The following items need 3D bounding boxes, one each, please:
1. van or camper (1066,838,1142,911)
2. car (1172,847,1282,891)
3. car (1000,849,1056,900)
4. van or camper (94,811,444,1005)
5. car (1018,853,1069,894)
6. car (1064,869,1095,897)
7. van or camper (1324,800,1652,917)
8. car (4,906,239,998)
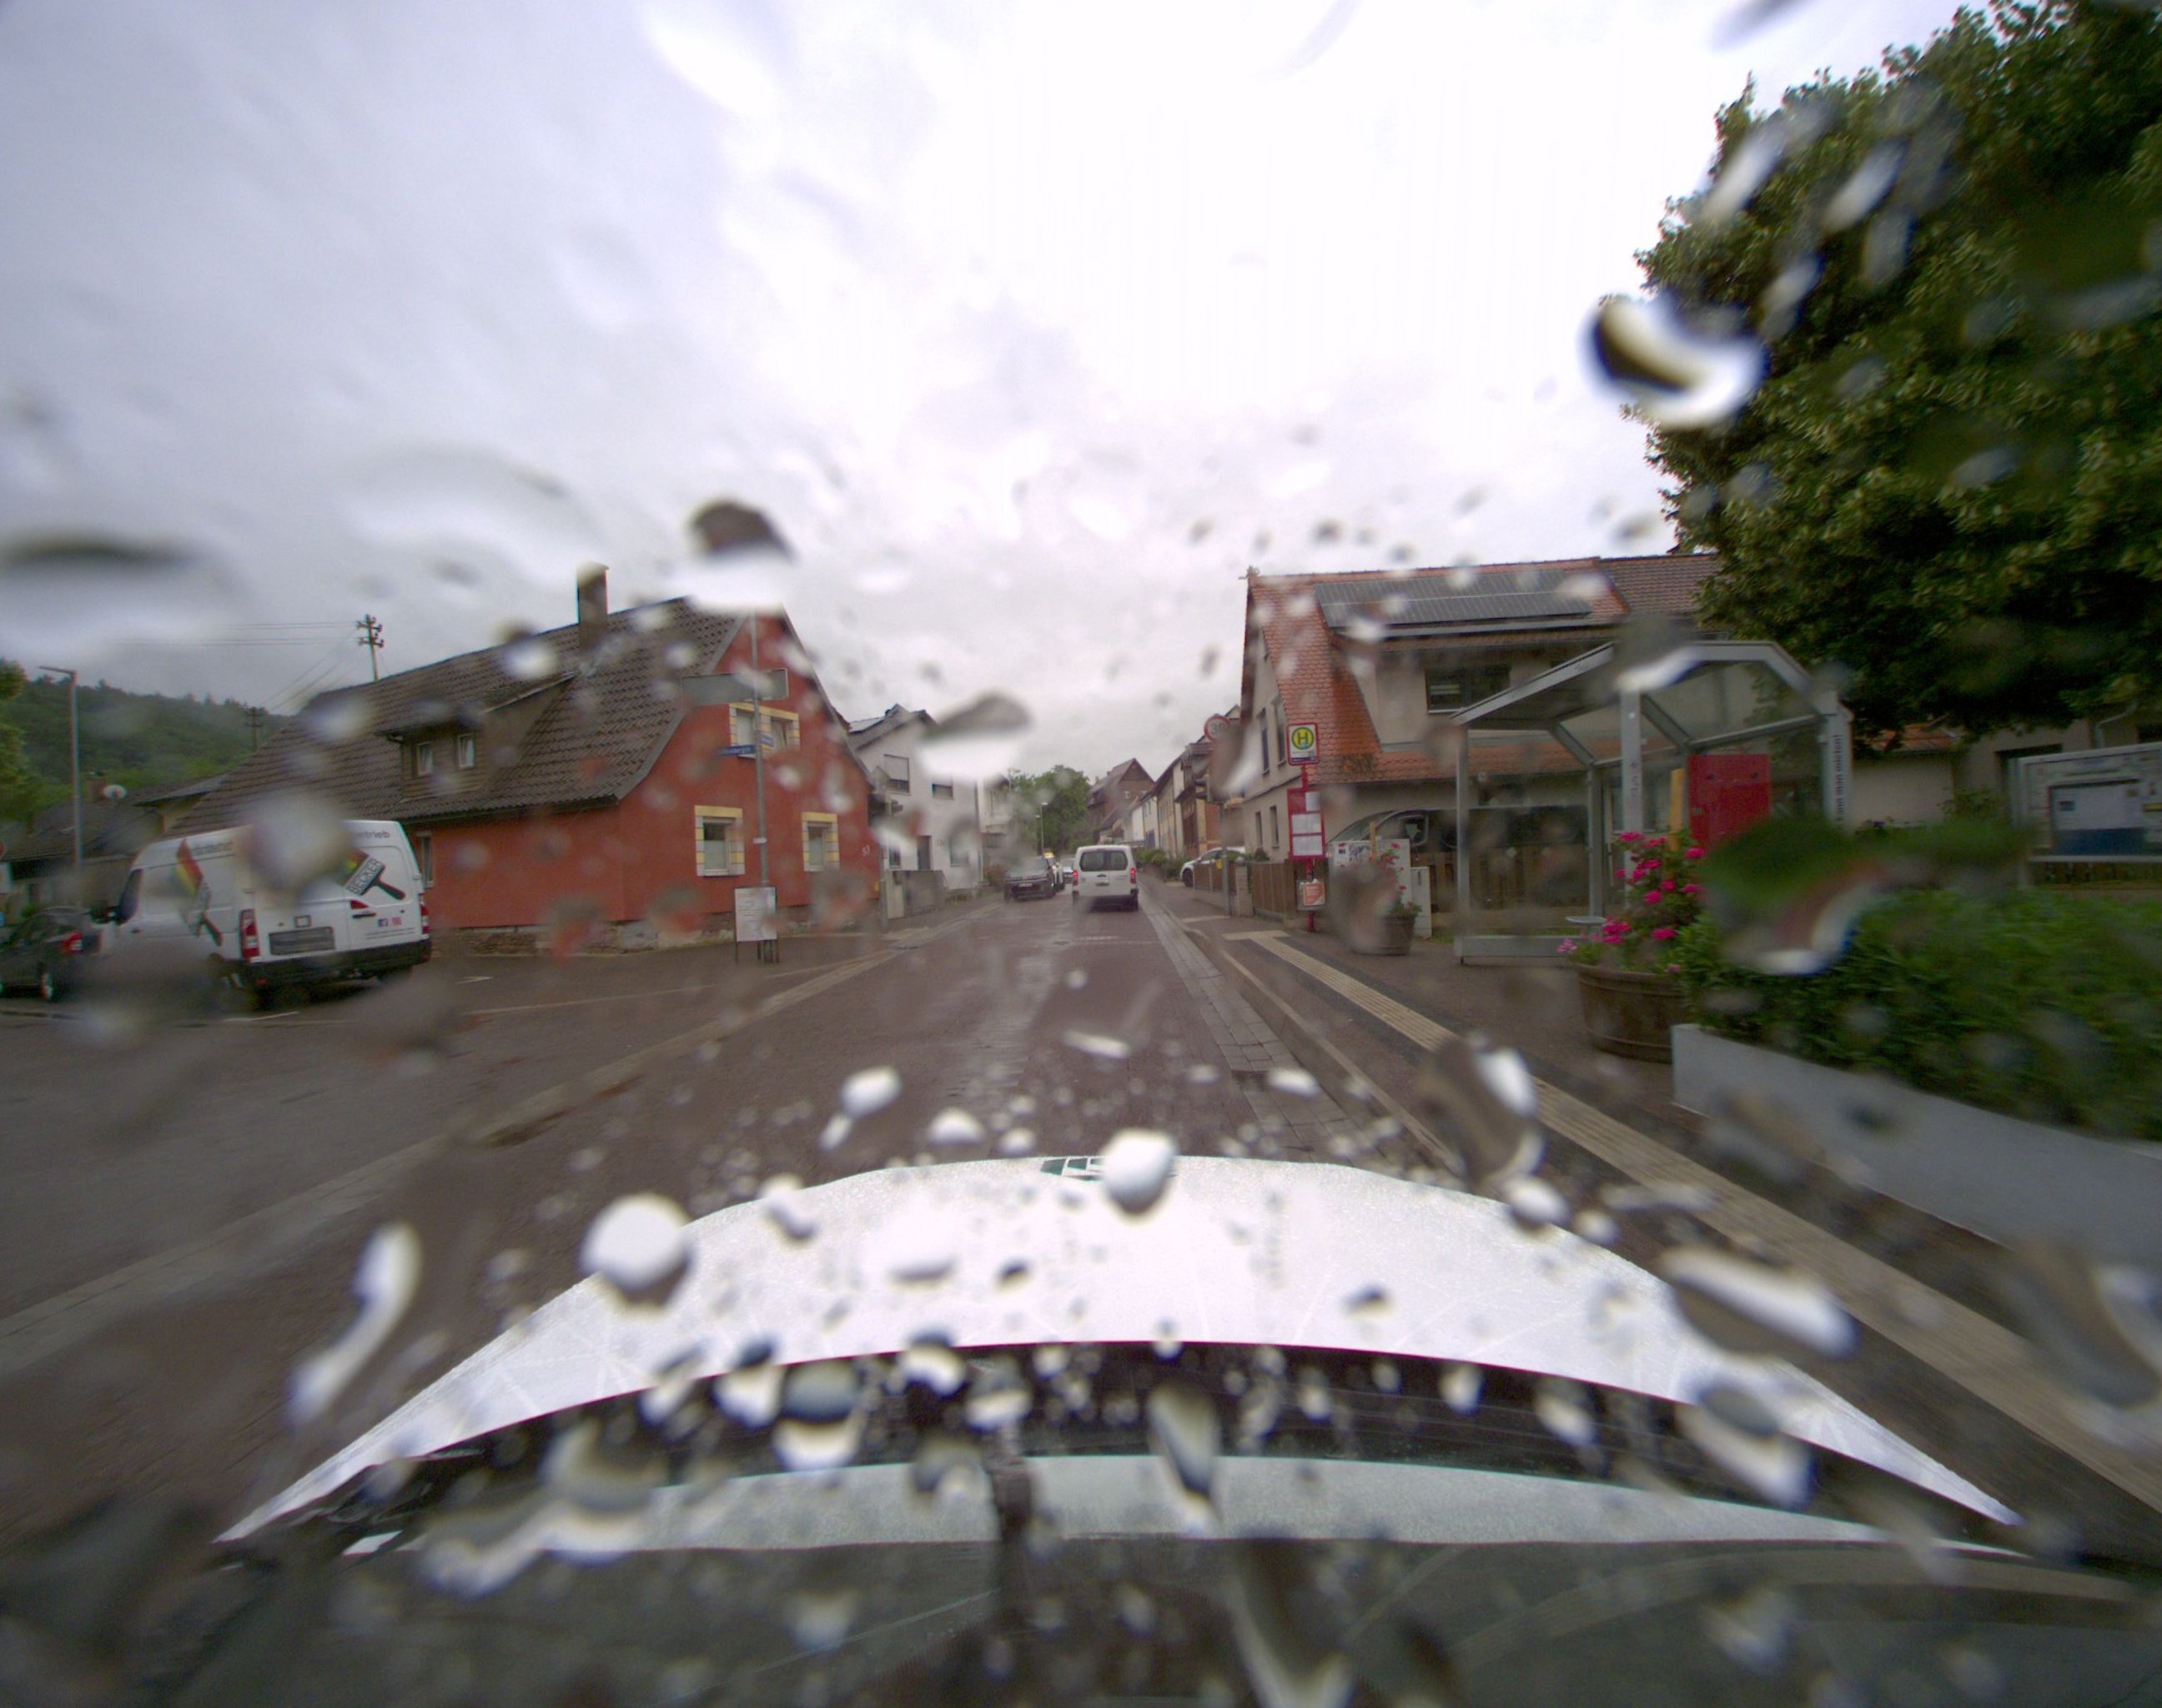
[{"bbox_3d":[0.673,0.522,23.252,1.936,1.851,4.002,-2,0,2],"label":"van or camper"},{"bbox_3d":[5.783,0.549,32.825,1.883,1.590,4.575,-2,1,-30],"label":"car"},{"bbox_3d":[-2.002,0.742,31.891,1.806,1.779,4.018,-3,0,1],"label":"car"},{"bbox_3d":[-12.340,0.765,12.334,5.093,2.435,2.225,-3,0,28],"label":"van or camper"},{"bbox_3d":[-1.694,0.905,38.076,1.741,1.636,4.422,-5,-1,3],"label":"car"},{"bbox_3d":[-0.119,1.824,50.697,1.685,1.565,3.929,-3,-2,-3],"label":"car"},{"bbox_3d":[7.240,0.073,14.837,5.054,1.923,1.875,-1,0,-2],"label":"van or camper"},{"bbox_3d":[-17.248,1.704,14.626,3.952,1.281,1.849,-3,0,28],"label":"car"}]
